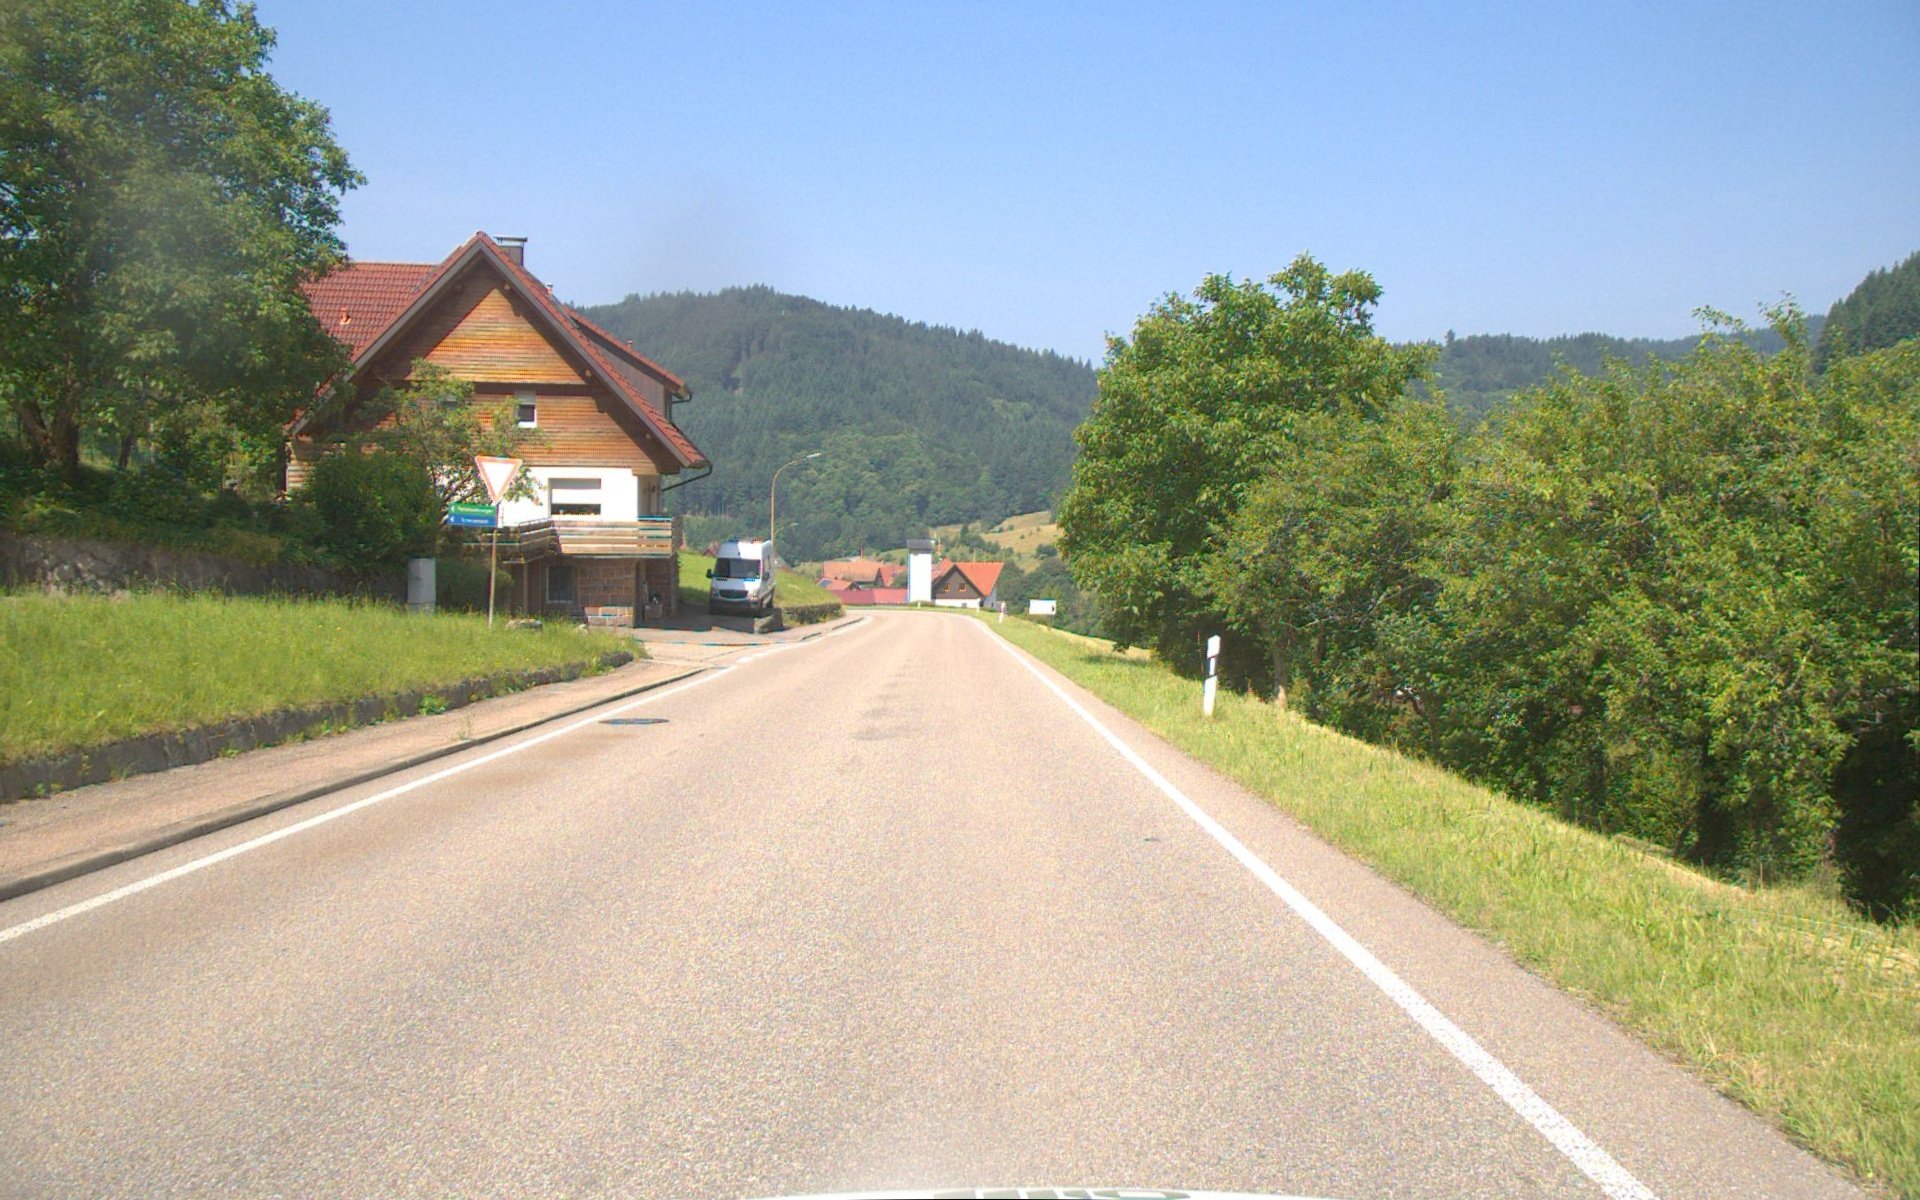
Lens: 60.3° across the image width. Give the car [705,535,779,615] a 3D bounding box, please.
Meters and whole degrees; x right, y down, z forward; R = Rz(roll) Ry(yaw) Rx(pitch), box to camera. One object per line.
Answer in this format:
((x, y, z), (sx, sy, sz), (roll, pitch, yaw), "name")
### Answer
((-8.297, -1.040, 63.512), (2.025, 2.734, 7.174), (1, 3, -1), "car")
